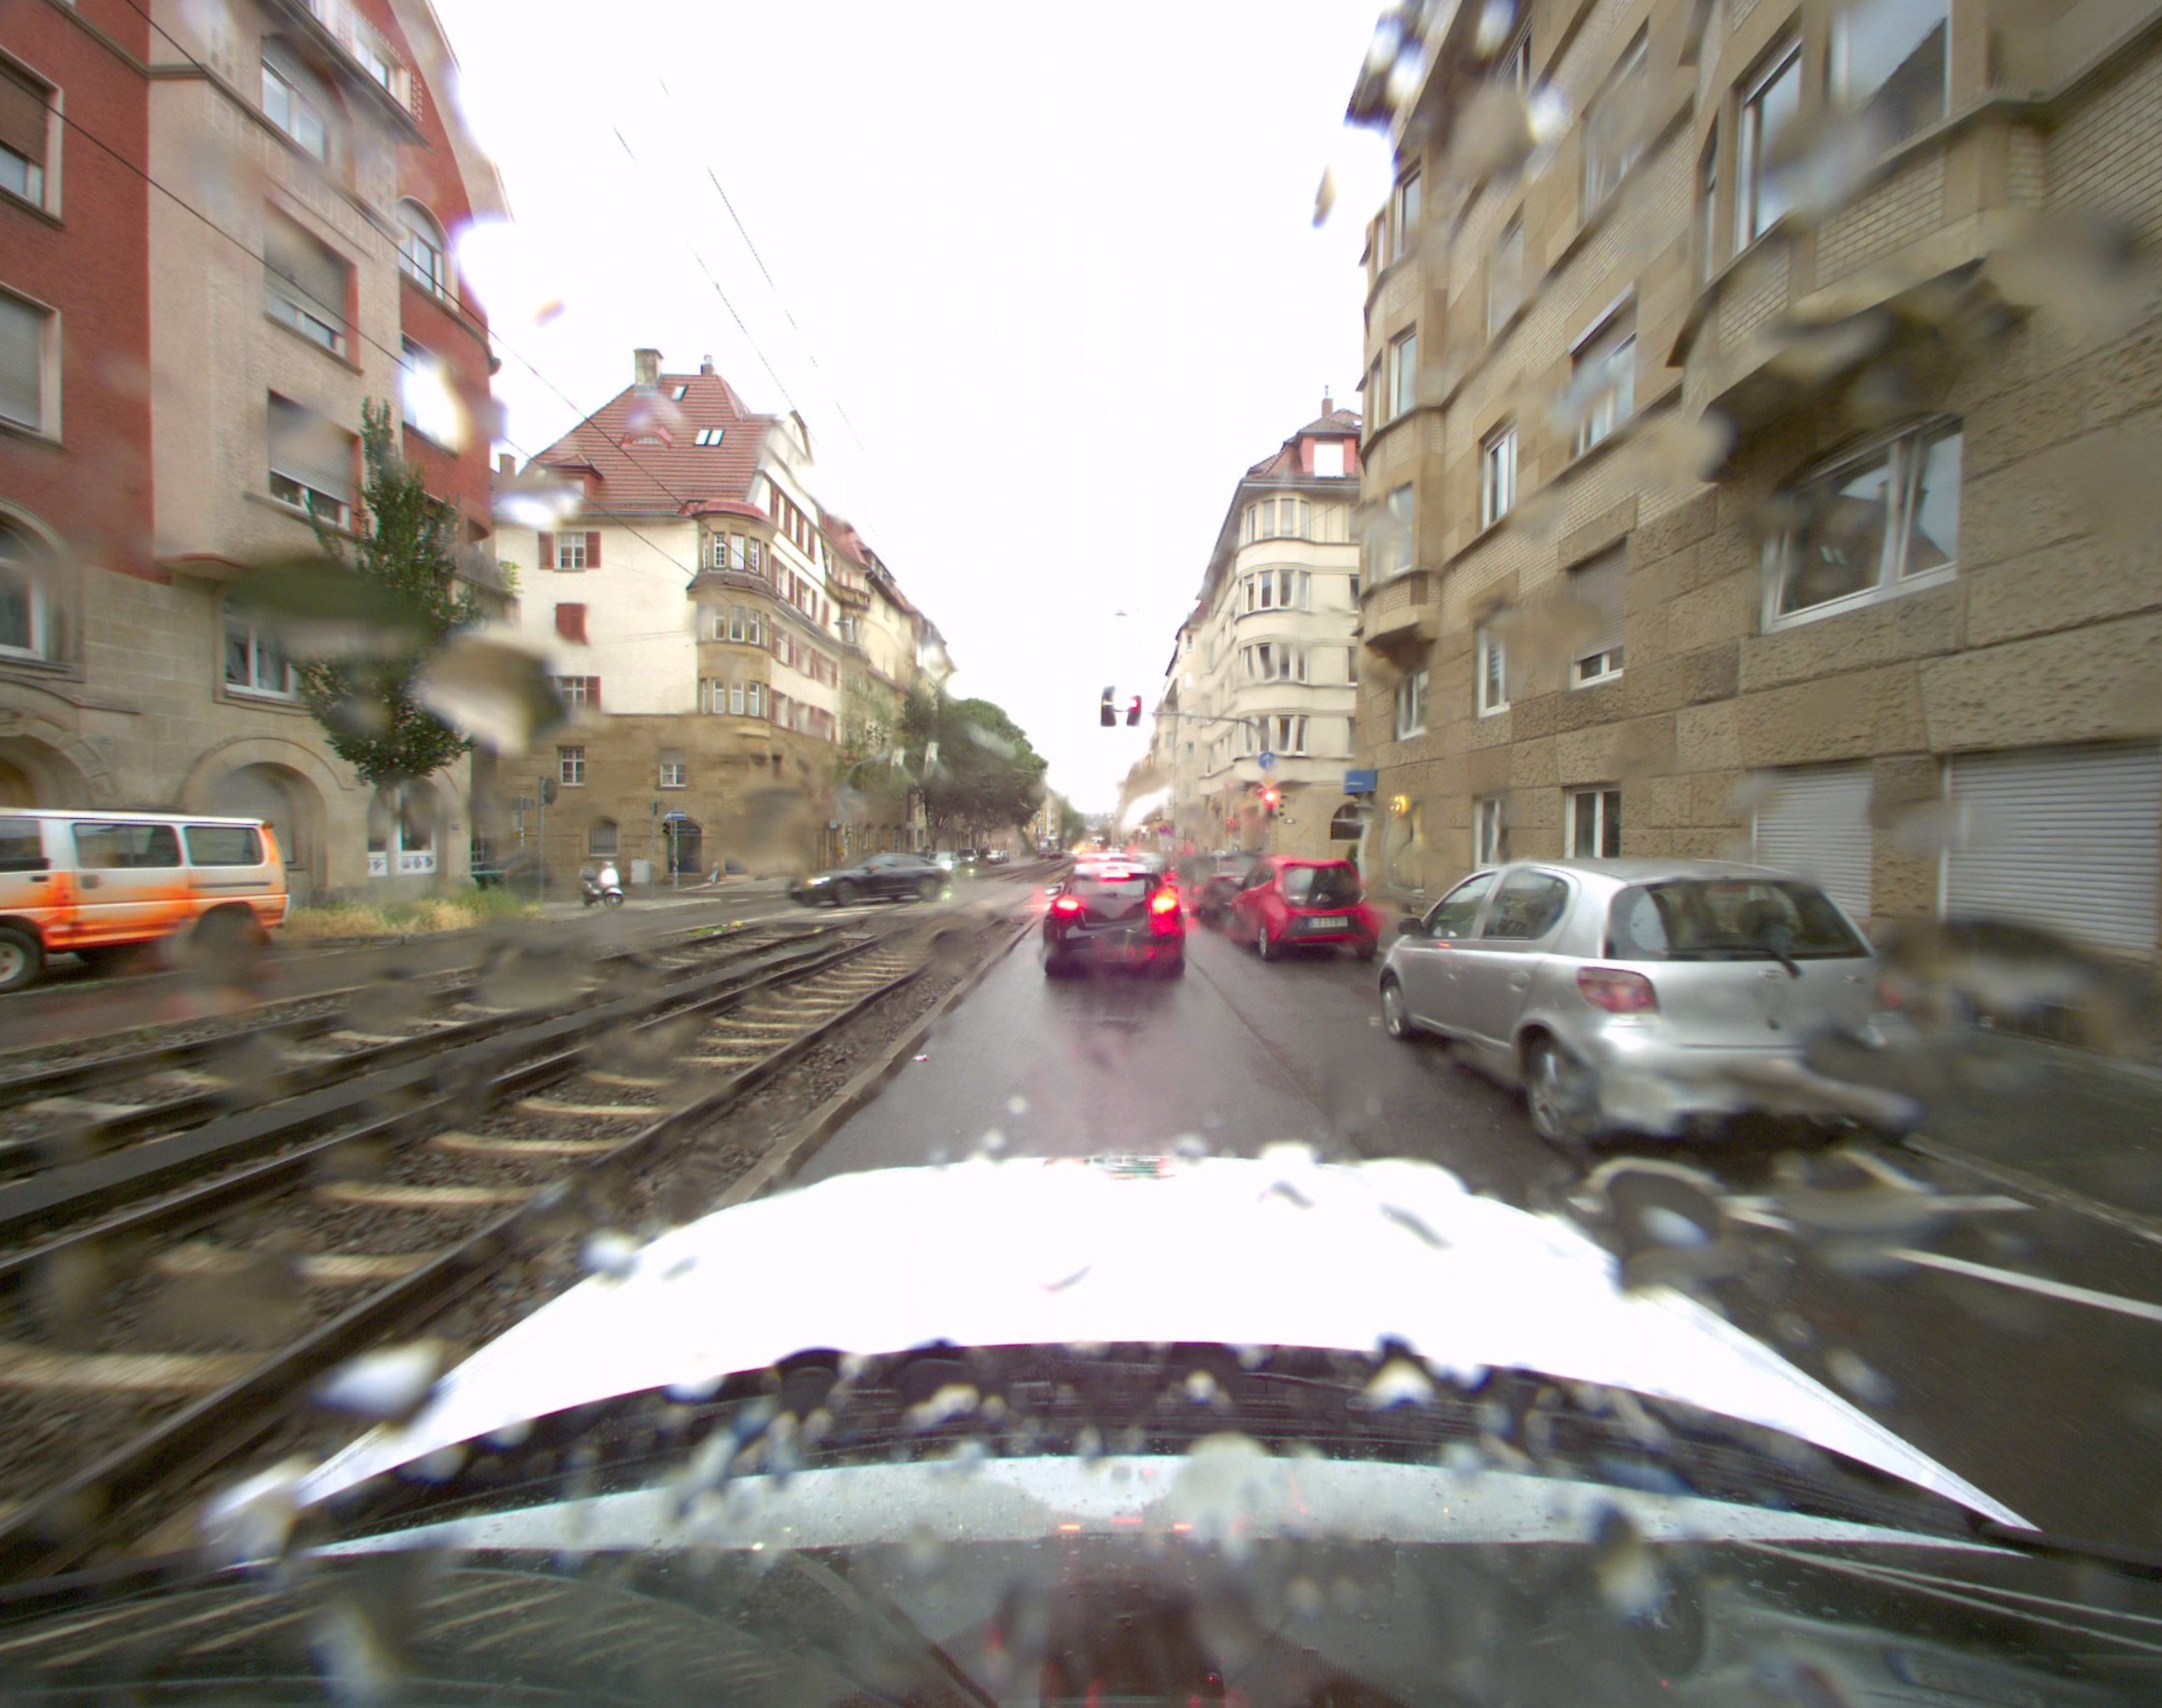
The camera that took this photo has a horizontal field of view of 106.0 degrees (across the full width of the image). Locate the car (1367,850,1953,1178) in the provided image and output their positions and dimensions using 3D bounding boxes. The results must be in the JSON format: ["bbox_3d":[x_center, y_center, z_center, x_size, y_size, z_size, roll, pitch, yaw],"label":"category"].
[{"bbox_3d":[3.216,0.736,5.378,1.608,1.467,3.314,-2,0,3],"label":"car"}]

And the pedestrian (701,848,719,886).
[{"bbox_3d":[-16.457,0.582,36.174,0.703,1.672,0.628,0,-1,-22],"label":"pedestrian"}]

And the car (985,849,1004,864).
[{"bbox_3d":[-9.709,0.317,91.891,1.583,1.581,3.920,0,-1,2],"label":"car"}]

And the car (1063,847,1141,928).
[{"bbox_3d":[0.475,0.697,18.241,1.559,1.609,3.815,0,-1,2],"label":"car"}]

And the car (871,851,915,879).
[{"bbox_3d":[-11.142,0.638,48.411,1.747,1.552,4.033,0,-1,-2],"label":"car"}]

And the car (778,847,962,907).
[{"bbox_3d":[-5.896,0.591,23.331,1.786,1.523,4.995,0,0,41],"label":"car"}]

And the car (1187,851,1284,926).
[{"bbox_3d":[3.326,0.687,18.088,1.539,1.486,3.831,0,0,2],"label":"car"}]

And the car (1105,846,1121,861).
[{"bbox_3d":[4.137,-0.085,105.662,1.986,1.876,4.001,0,-1,2],"label":"car"}]

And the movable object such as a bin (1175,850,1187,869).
[{"bbox_3d":[7.601,0.433,61.831,0.873,1.389,0.984,0,-1,5],"label":"movable object such as a bin"}]

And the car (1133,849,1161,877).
[{"bbox_3d":[3.956,0.532,49.454,1.539,1.590,3.549,0,0,2],"label":"car"}]

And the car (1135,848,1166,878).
[{"bbox_3d":[3.811,0.487,44.980,1.539,1.590,3.549,0,0,2],"label":"car"}]

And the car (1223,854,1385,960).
[{"bbox_3d":[3.354,0.731,12.844,1.637,1.448,3.298,0,0,-1],"label":"car"}]

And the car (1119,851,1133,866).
[{"bbox_3d":[4.167,0.416,75.952,1.289,1.442,2.930,0,0,2],"label":"car"}]

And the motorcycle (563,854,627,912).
[{"bbox_3d":[-11.982,0.703,20.061,1.577,1.365,0.628,-1,-1,28],"label":"motorcycle"}]

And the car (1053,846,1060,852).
[{"bbox_3d":[-4.938,-1.020,165.778,1.372,1.249,3.297,0,-1,0],"label":"car"}]

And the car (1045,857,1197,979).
[{"bbox_3d":[0.542,0.777,11.845,1.822,1.458,4.105,0,0,2],"label":"car"}]

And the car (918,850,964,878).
[{"bbox_3d":[-8.157,0.581,47.722,1.891,1.588,3.974,0,-1,2],"label":"car"}]

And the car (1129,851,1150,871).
[{"bbox_3d":[4.544,0.538,63.861,1.539,1.486,3.549,0,0,2],"label":"car"}]

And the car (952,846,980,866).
[{"bbox_3d":[-10.456,0.220,74.433,1.868,1.737,3.920,0,-1,2],"label":"car"}]

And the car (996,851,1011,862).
[{"bbox_3d":[-9.630,0.307,101.306,1.443,1.331,3.271,0,-1,0],"label":"car"}]

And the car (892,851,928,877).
[{"bbox_3d":[-11.168,0.646,53.446,1.713,1.611,3.914,0,-1,-3],"label":"car"}]

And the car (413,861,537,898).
[{"bbox_3d":[-24.286,0.999,32.716,3.632,1.404,1.699,0,-1,-3],"label":"car"}]

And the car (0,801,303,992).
[{"bbox_3d":[-12.048,0.457,9.504,1.725,1.975,4.342,0,-1,0],"label":"car"}]

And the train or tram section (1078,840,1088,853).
[{"bbox_3d":[0.654,-2.278,253.093,2.772,3.861,10.434,0,-1,2],"label":"train or tram section"}]
